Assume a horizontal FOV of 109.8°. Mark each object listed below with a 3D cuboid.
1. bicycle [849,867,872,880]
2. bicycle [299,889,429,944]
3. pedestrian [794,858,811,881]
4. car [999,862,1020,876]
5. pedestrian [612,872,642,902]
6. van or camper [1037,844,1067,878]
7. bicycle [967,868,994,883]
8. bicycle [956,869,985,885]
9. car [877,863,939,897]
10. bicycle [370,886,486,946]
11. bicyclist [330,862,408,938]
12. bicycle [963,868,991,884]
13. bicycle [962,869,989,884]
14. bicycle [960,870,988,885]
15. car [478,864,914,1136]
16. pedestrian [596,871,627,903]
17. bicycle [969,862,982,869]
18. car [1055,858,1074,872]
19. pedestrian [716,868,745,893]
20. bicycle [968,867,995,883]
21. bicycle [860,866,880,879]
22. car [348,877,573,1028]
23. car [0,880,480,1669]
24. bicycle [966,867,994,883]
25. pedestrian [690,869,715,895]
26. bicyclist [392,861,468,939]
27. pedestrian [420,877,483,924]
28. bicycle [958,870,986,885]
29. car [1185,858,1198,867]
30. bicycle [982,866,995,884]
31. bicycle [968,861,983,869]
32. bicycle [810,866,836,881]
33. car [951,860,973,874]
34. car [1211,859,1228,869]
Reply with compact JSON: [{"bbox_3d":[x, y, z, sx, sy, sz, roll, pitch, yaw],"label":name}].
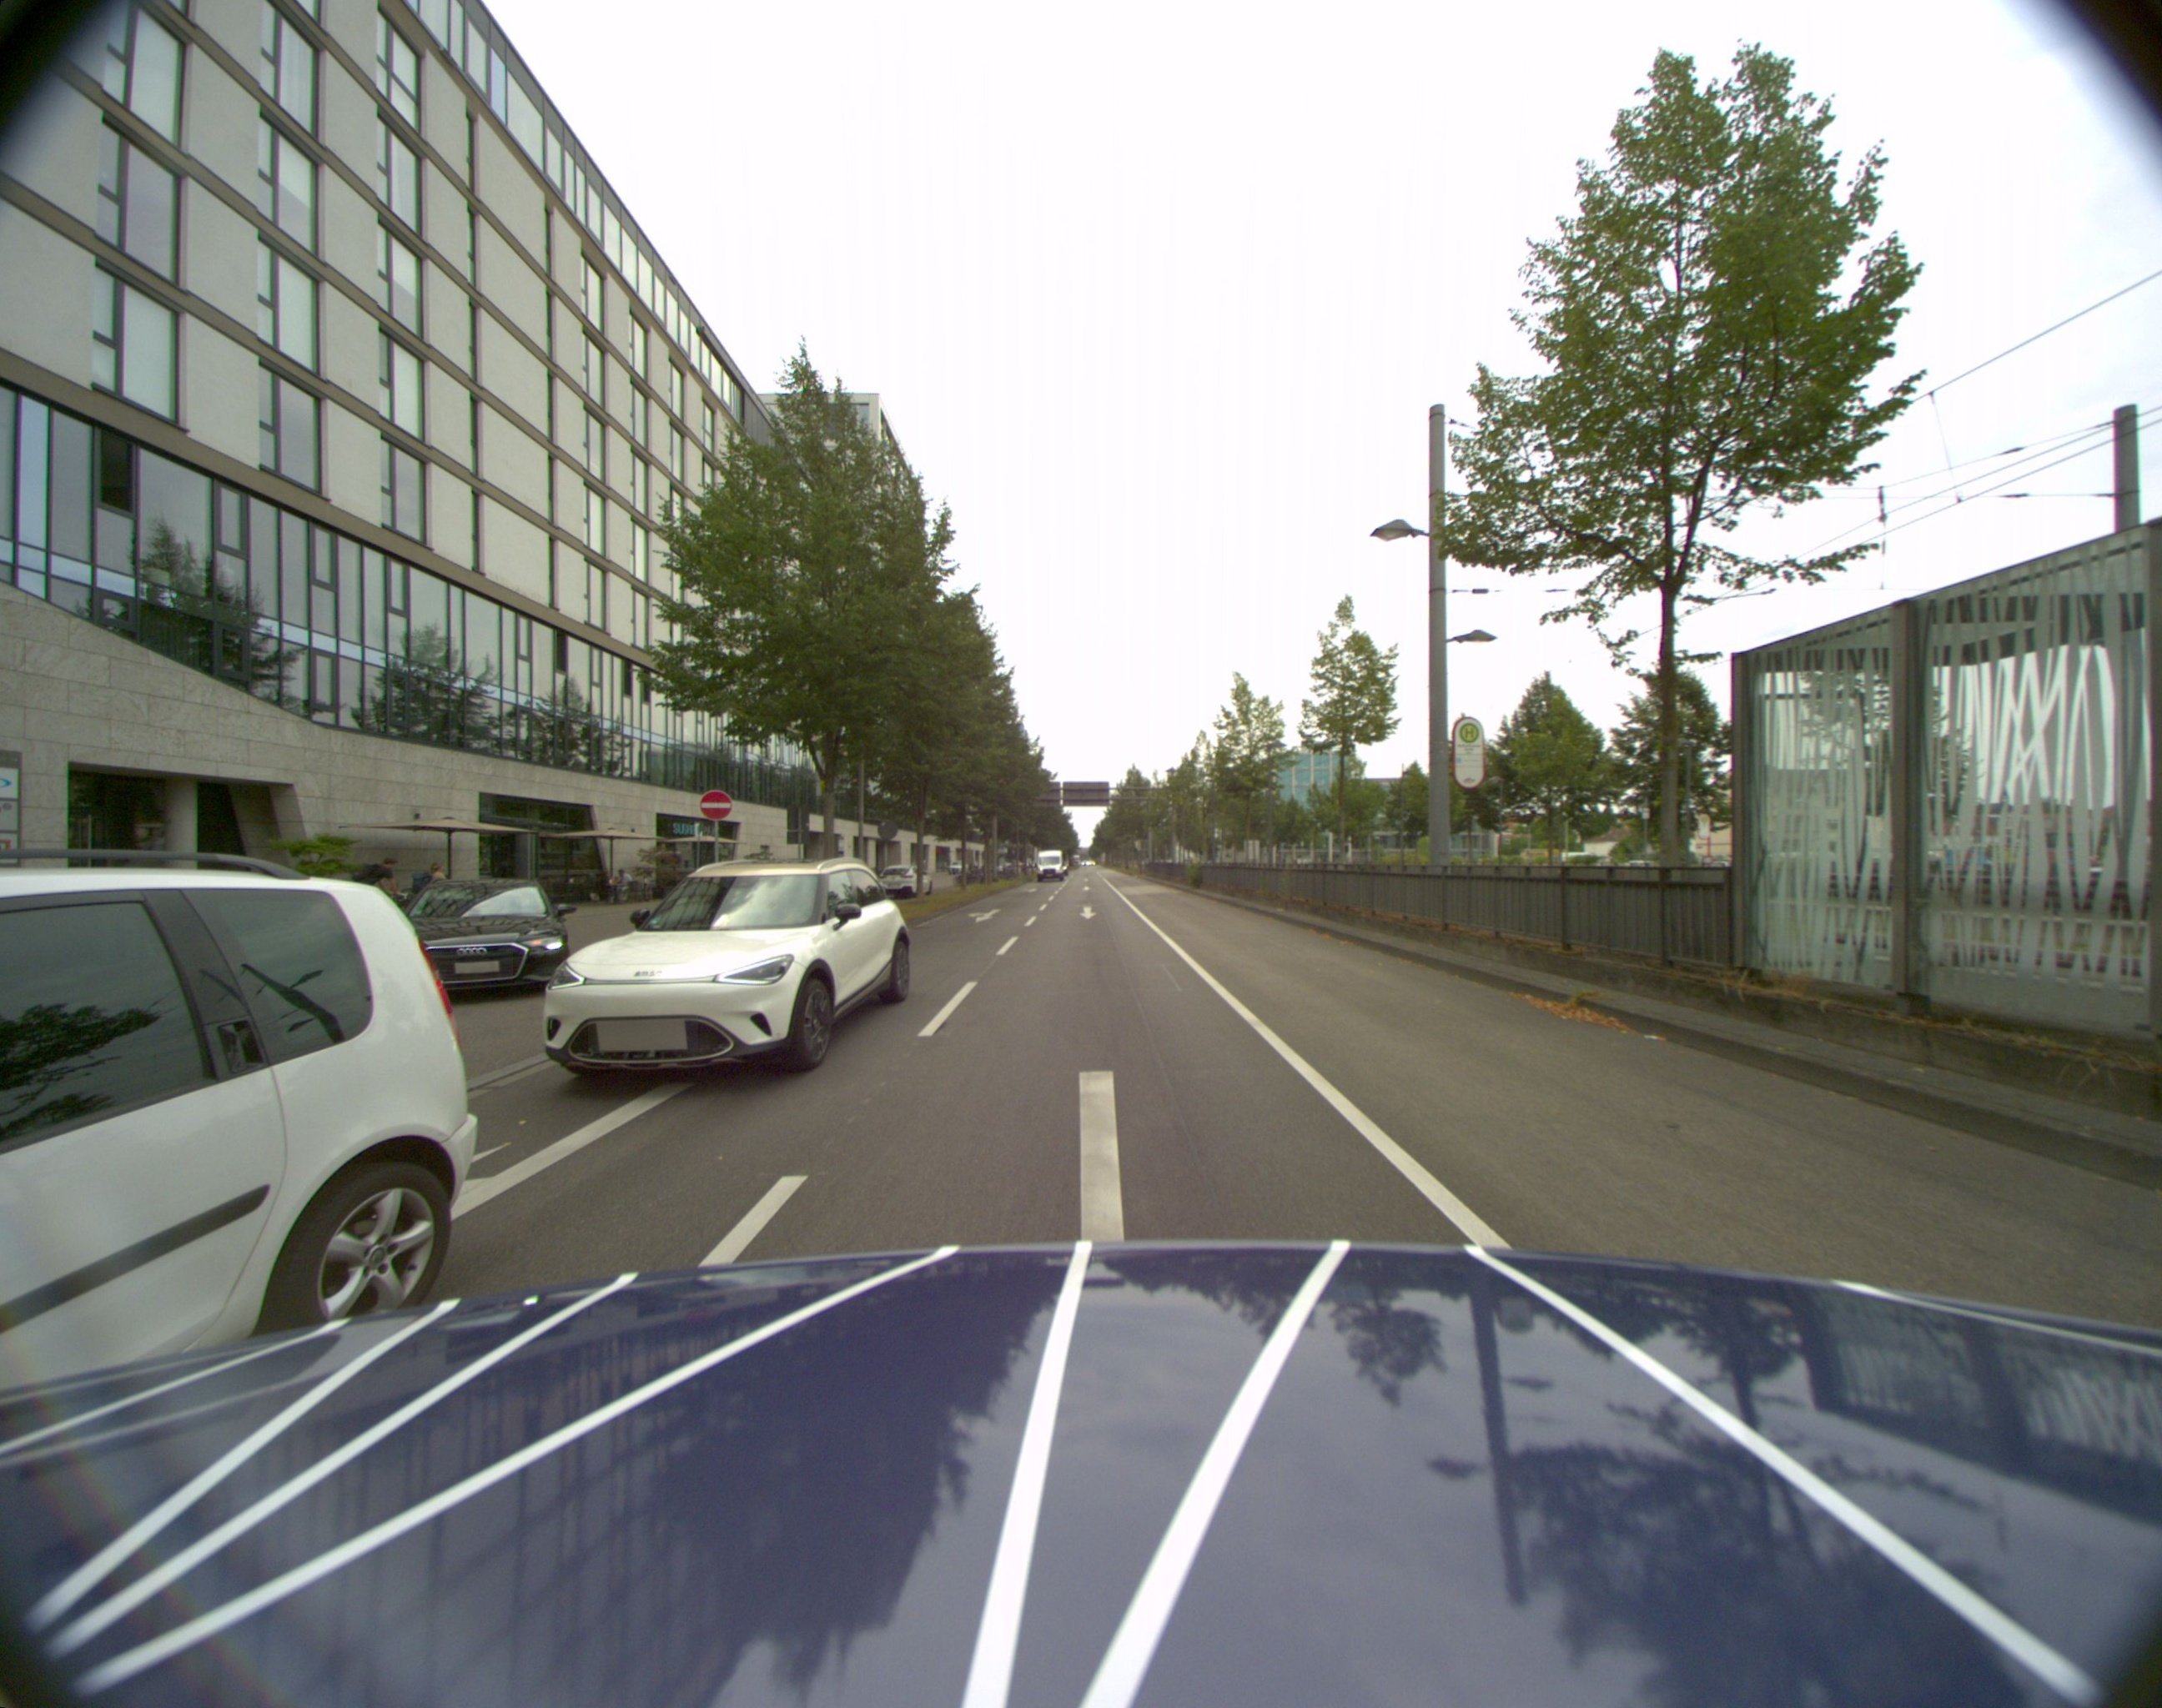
[{"bbox_3d":[-17.178,1.532,59.239,1.602,1.020,0.533,0,0,-3],"label":"bicycle"},{"bbox_3d":[-15.448,1.316,16.448,0.674,1.036,2.009,2,0,11],"label":"bicycle"},{"bbox_3d":[-17.692,0.985,48.241,0.758,1.398,0.721,0,0,8],"label":"pedestrian"},{"bbox_3d":[-7.727,1.571,82.512,1.765,1.413,4.183,-1,0,1],"label":"car"},{"bbox_3d":[-18.111,1.307,30.345,0.720,1.185,0.759,0,0,2],"label":"pedestrian"},{"bbox_3d":[-2.313,0.561,61.919,2.184,2.493,6.339,-2,0,0],"label":"van or camper"},{"bbox_3d":[-7.574,1.618,57.246,1.936,1.059,0.543,-4,0,-8],"label":"bicycle"},{"bbox_3d":[-7.667,1.580,52.907,1.865,0.989,0.574,-4,0,-3],"label":"bicycle"},{"bbox_3d":[-8.213,1.202,36.539,1.943,1.543,4.593,-1,-1,0],"label":"car"},{"bbox_3d":[-13.877,1.295,16.242,0.675,1.136,2.008,0,0,3],"label":"bicycle"},{"bbox_3d":[-15.435,0.978,16.489,0.725,1.573,0.991,1,1,12],"label":"bicyclist"},{"bbox_3d":[-7.616,1.591,55.756,1.935,1.059,0.705,-4,0,-3],"label":"bicycle"},{"bbox_3d":[-7.630,1.645,55.064,1.865,0.945,0.612,-4,0,-3],"label":"bicycle"},{"bbox_3d":[-7.669,1.648,54.323,1.865,0.945,0.652,-4,0,-3],"label":"bicycle"},{"bbox_3d":[-2.904,0.964,6.866,1.783,1.646,4.024,-2,0,1],"label":"car"},{"bbox_3d":[-18.130,1.260,29.368,0.720,1.185,0.759,0,0,0],"label":"pedestrian"},{"bbox_3d":[-17.601,1.851,126.864,2.238,1.170,0.976,0,0,-7],"label":"bicycle"},{"bbox_3d":[-1.866,1.264,85.909,1.973,1.528,4.140,0,0,1],"label":"car"},{"bbox_3d":[-17.246,1.310,37.376,0.773,1.185,1.107,0,0,16],"label":"pedestrian"},{"bbox_3d":[-7.559,1.618,57.826,1.936,1.059,0.543,-4,0,-8],"label":"bicycle"},{"bbox_3d":[-17.493,1.545,62.940,1.533,1.020,0.533,0,0,-3],"label":"bicycle"},{"bbox_3d":[-8.236,1.110,10.522,1.951,1.467,4.858,0,0,-34],"label":"car"},{"bbox_3d":[-3.213,0.916,0.880,1.783,1.647,4.024,0,0,1],"label":"car"},{"bbox_3d":[-7.535,1.586,56.515,1.935,1.059,0.641,-4,0,-3],"label":"bicycle"},{"bbox_3d":[-17.890,1.314,35.895,0.719,1.185,0.760,0,0,23],"label":"pedestrian"},{"bbox_3d":[-13.892,0.957,16.236,0.726,1.573,0.990,1,1,5],"label":"bicyclist"},{"bbox_3d":[-17.109,1.258,20.677,0.899,1.221,0.951,0,0,5],"label":"pedestrian"},{"bbox_3d":[-7.683,1.650,53.574,1.865,0.945,0.501,-4,0,-3],"label":"bicycle"},{"bbox_3d":[23.040,1.800,159.140,1.998,1.932,5.096,-1,0,0],"label":"car"},{"bbox_3d":[-6.111,1.396,50.148,0.712,1.109,2.202,-4,0,-7],"label":"bicycle"},{"bbox_3d":[-17.797,1.855,128.091,2.426,1.170,1.202,0,0,-7],"label":"bicycle"},{"bbox_3d":[-17.599,1.312,51.839,1.605,1.020,0.609,0,0,-27],"label":"bicycle"},{"bbox_3d":[-14.178,1.479,90.894,1.862,1.579,4.240,2,0,1],"label":"car"},{"bbox_3d":[23.811,1.664,130.661,1.832,1.646,4.691,0,0,-2],"label":"car"}]
